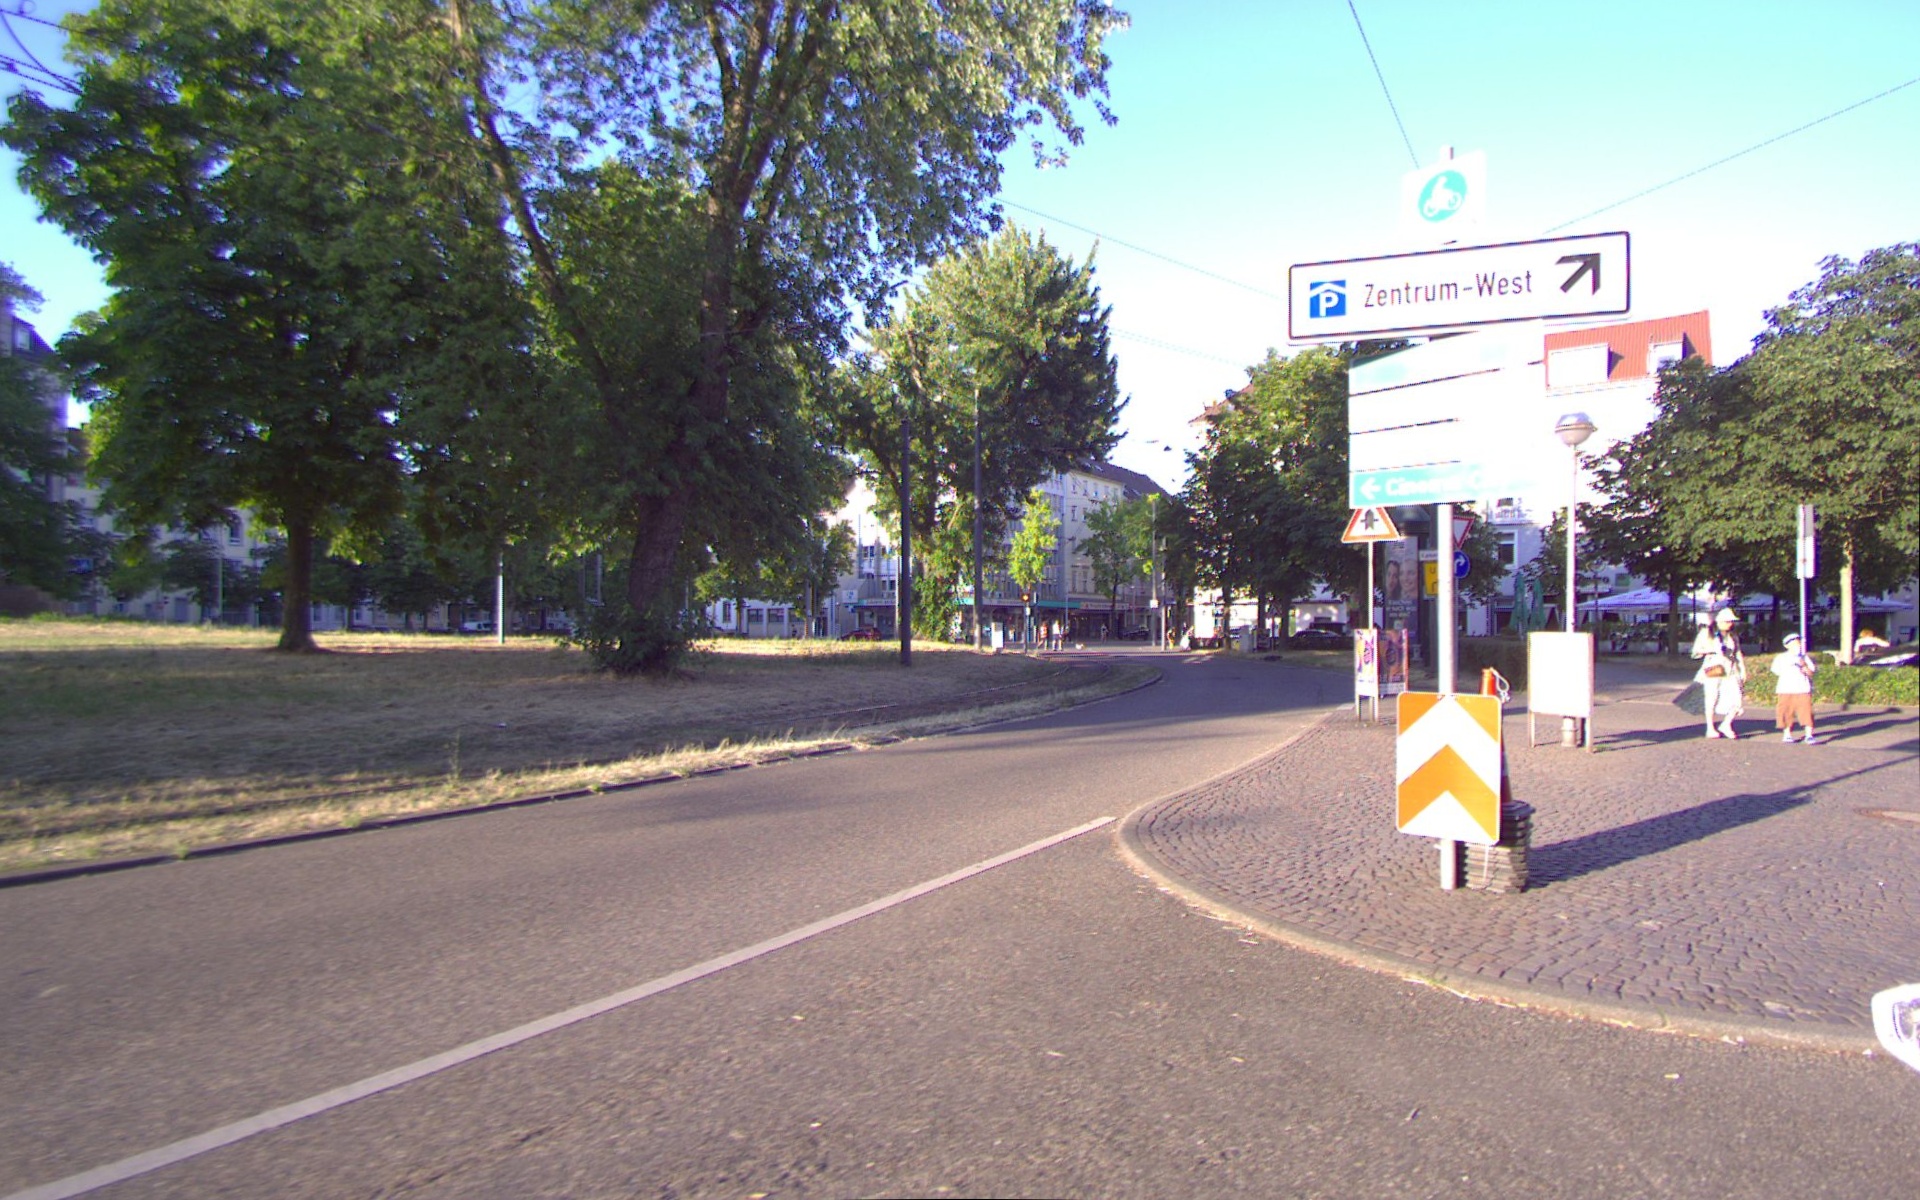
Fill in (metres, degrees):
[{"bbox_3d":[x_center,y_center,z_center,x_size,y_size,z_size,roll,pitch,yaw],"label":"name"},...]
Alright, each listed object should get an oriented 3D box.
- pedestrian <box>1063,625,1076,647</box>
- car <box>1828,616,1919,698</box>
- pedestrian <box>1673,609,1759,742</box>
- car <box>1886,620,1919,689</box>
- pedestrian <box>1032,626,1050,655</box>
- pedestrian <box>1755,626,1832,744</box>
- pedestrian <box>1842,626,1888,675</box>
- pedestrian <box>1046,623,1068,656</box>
[{"bbox_3d":[9.925,3.284,91.013,0.879,1.947,0.876,0,1,36],"label":"pedestrian"},{"bbox_3d":[20.325,1.135,20.294,3.808,1.603,1.802,0,0,20],"label":"car"},{"bbox_3d":[9.401,0.912,12.517,0.686,1.580,0.694,0,0,22],"label":"pedestrian"},{"bbox_3d":[23.231,1.222,21.999,3.921,1.506,1.833,0,0,20],"label":"car"},{"bbox_3d":[4.986,2.463,61.663,0.814,1.722,0.740,-2,1,-31],"label":"pedestrian"},{"bbox_3d":[10.207,1.018,12.314,0.553,1.382,0.614,0,0,22],"label":"pedestrian"},{"bbox_3d":[24.551,1.363,27.260,0.734,1.294,0.661,0,0,22],"label":"pedestrian"},{"bbox_3d":[5.861,2.372,60.447,0.985,1.865,0.857,-2,1,-31],"label":"pedestrian"}]
